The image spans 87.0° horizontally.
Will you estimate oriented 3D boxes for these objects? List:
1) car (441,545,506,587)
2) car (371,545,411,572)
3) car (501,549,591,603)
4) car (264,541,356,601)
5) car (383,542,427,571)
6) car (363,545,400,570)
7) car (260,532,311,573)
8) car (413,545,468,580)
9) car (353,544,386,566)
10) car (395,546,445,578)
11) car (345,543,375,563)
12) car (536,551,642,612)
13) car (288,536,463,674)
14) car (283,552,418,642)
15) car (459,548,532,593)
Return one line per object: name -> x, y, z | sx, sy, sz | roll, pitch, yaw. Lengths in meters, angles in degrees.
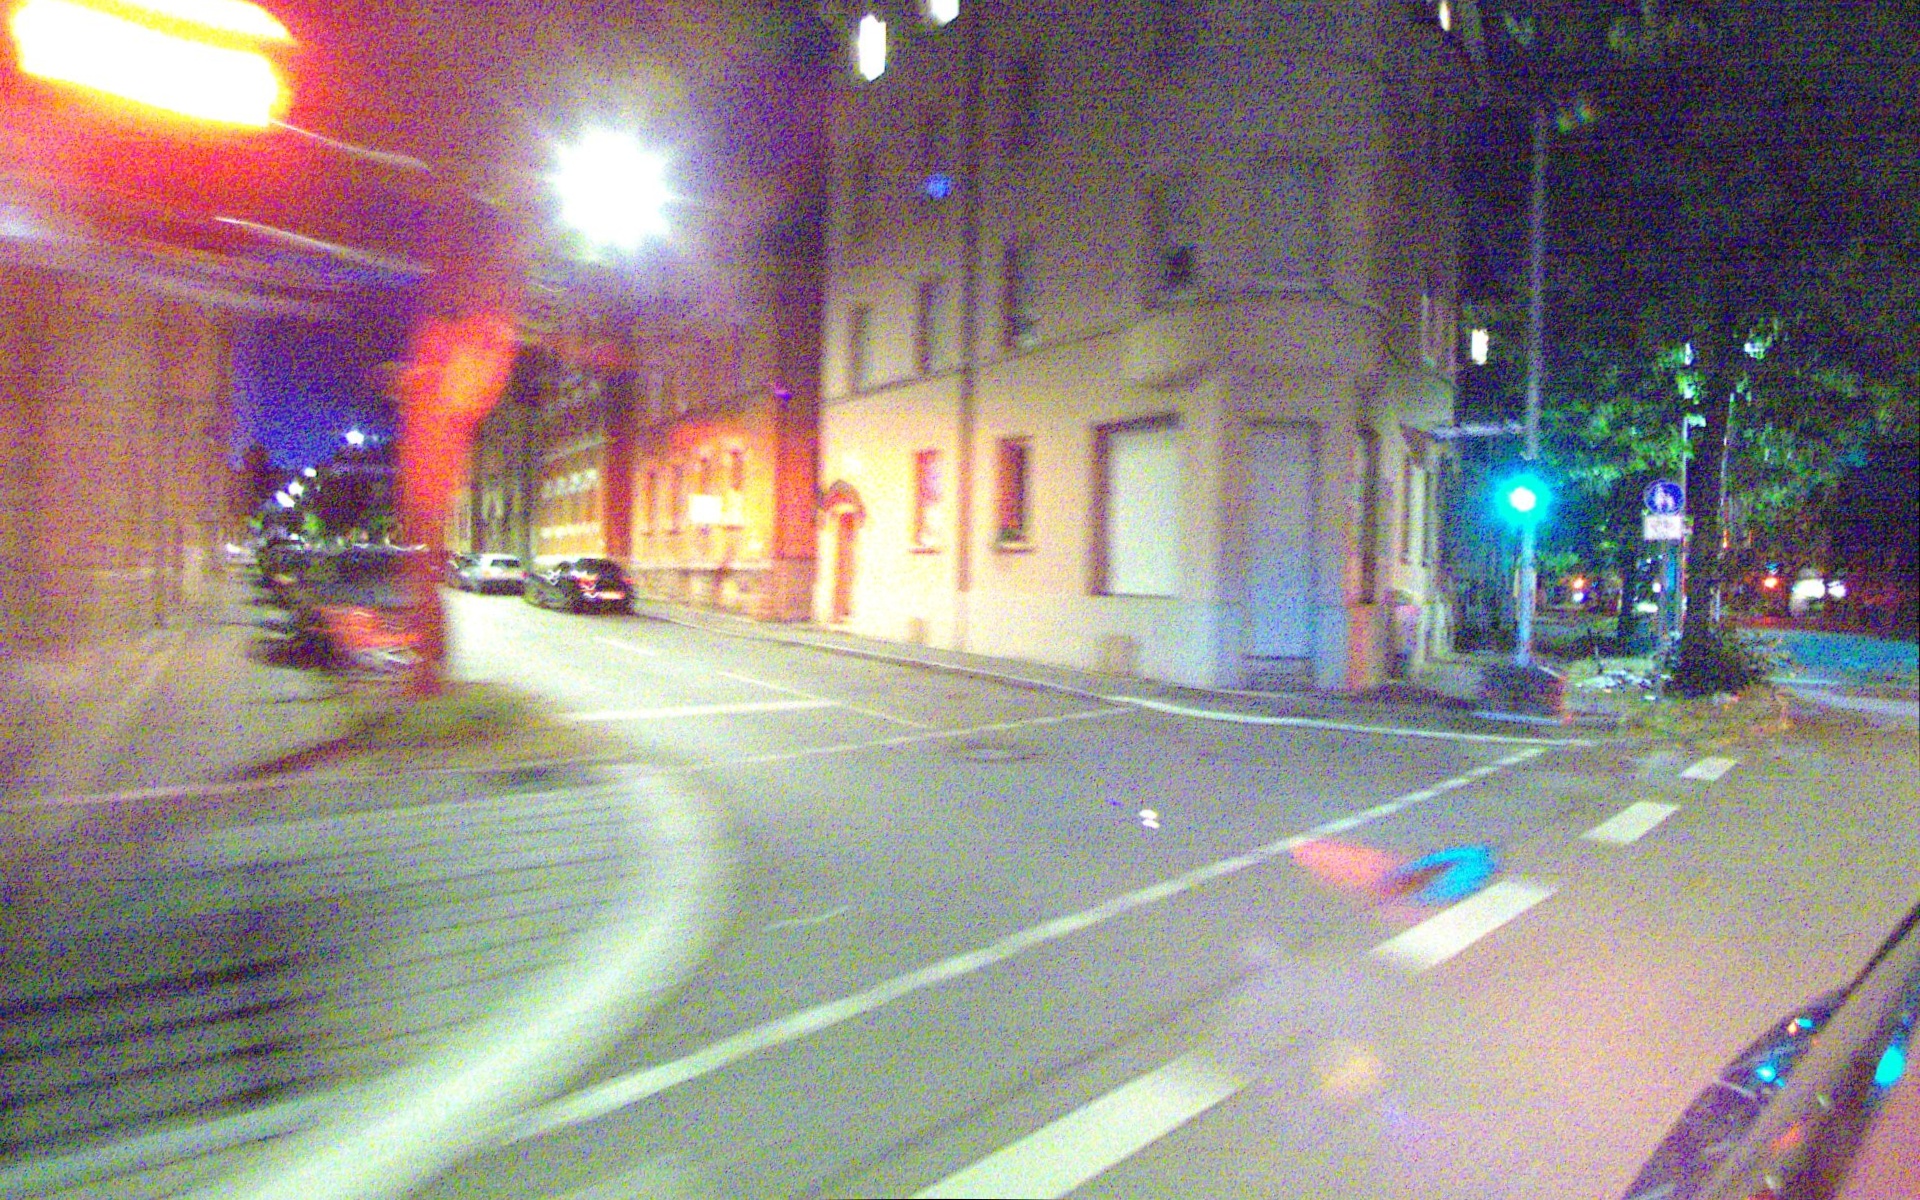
car -> -19.100, -1.338, 39.664 | 1.709, 1.504, 3.777 | 1, 2, -35
car -> -33.789, -2.464, 60.082 | 1.709, 1.504, 3.777 | 1, 2, -35
car -> -12.577, -0.746, 30.596 | 1.709, 1.504, 3.777 | 1, 2, -35
car -> -17.596, -0.824, 27.309 | 1.866, 1.444, 4.001 | -3, 4, -35
car -> -30.680, -2.383, 55.923 | 1.709, 1.504, 3.777 | 1, 2, -35
car -> -37.446, -2.725, 65.491 | 1.709, 1.504, 3.777 | 1, 2, -35
car -> -32.302, -2.266, 48.411 | 1.866, 1.829, 4.001 | -3, 4, -35
car -> -23.607, -1.706, 45.921 | 1.709, 1.504, 3.777 | 1, 2, -35
car -> -42.314, -3.218, 72.497 | 1.709, 1.504, 3.777 | 1, 2, -35
car -> -26.876, -1.892, 50.332 | 1.709, 1.504, 3.777 | 1, 2, -35
car -> -46.940, -3.681, 79.156 | 1.709, 1.504, 3.777 | 1, 2, -35
car -> -9.891, -0.517, 26.823 | 1.709, 1.504, 3.777 | 1, 2, -35
car -> -8.735, -0.035, 14.969 | 1.833, 1.713, 4.001 | -3, 4, -35
car -> -11.555, -0.143, 19.070 | 1.866, 1.444, 4.001 | -3, 4, -35
car -> -16.611, -1.073, 36.126 | 1.709, 1.504, 3.777 | 1, 2, -35
